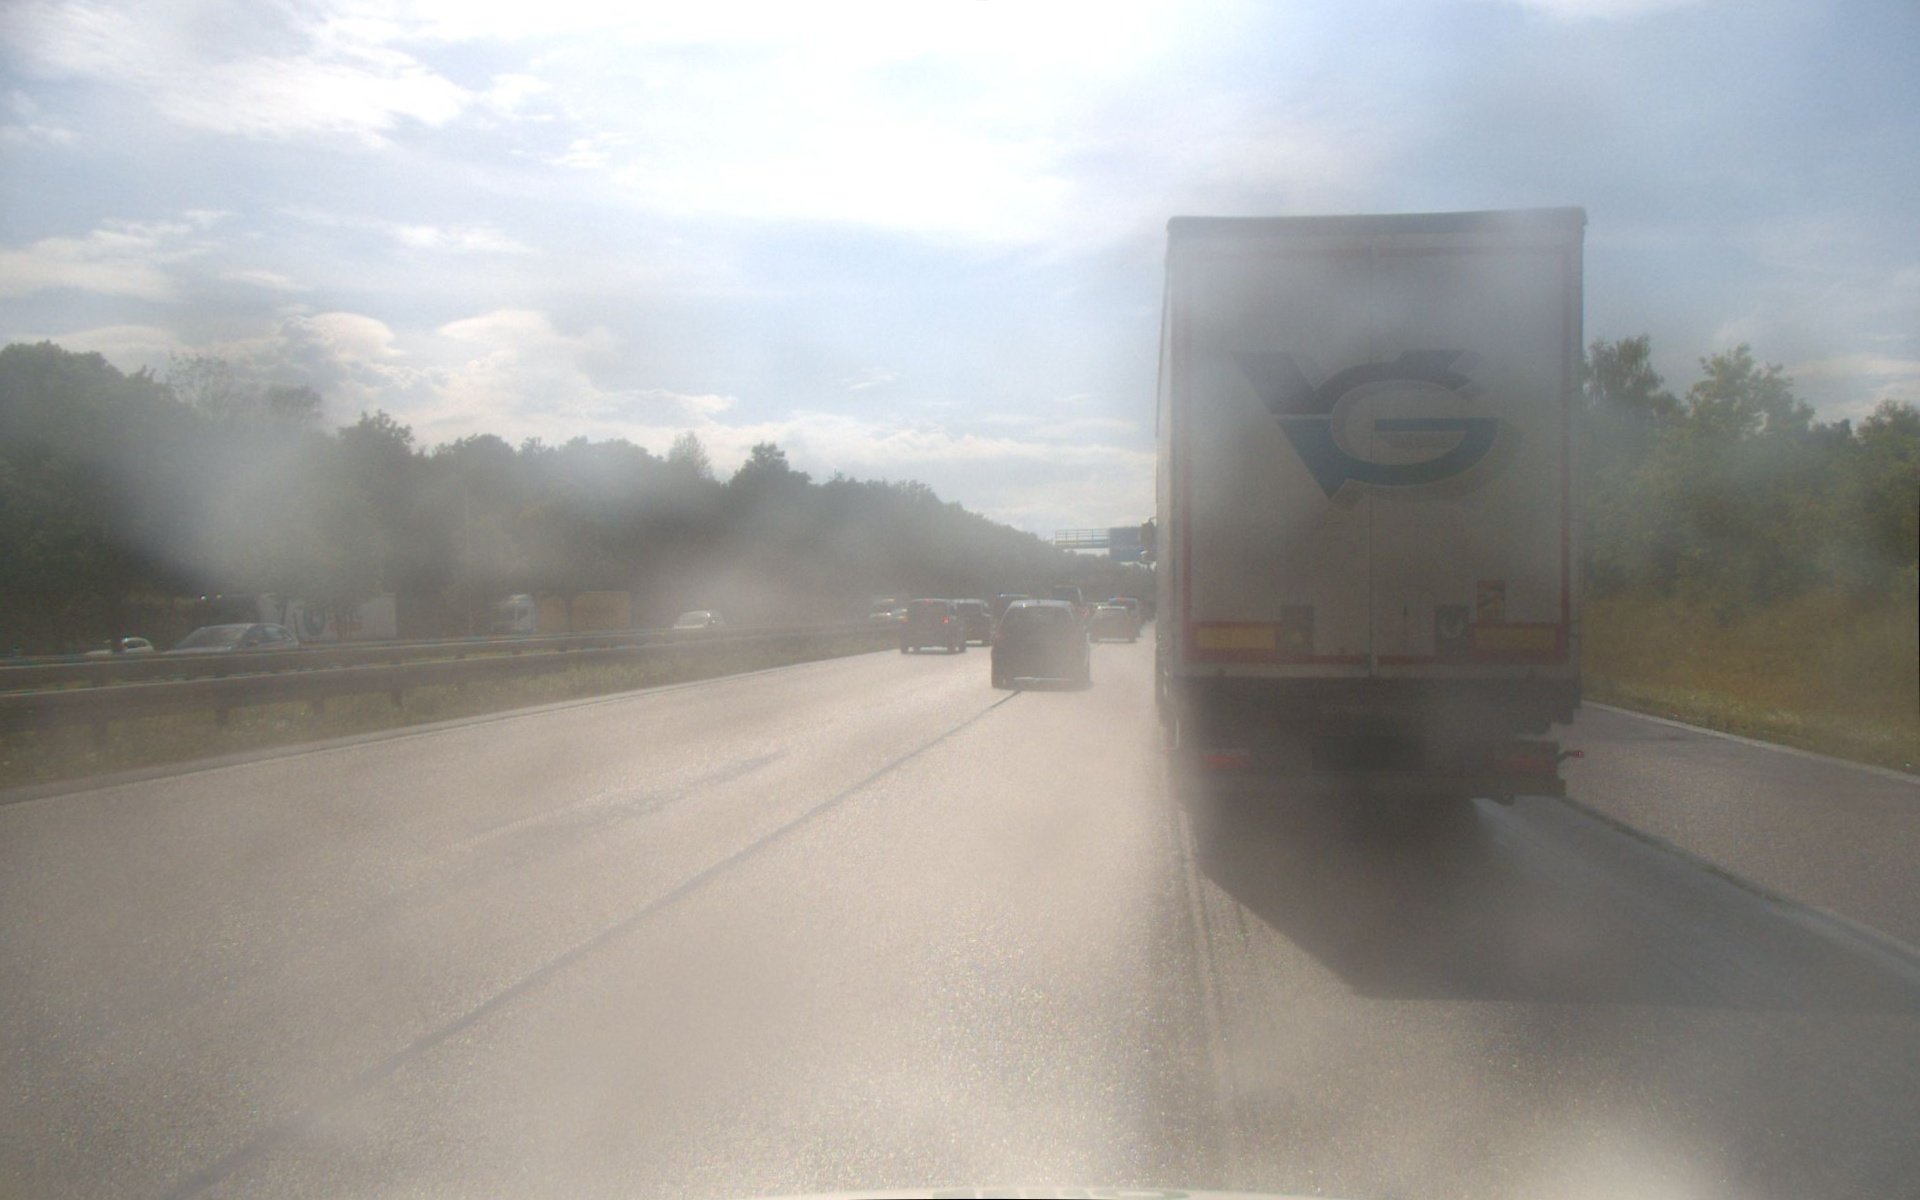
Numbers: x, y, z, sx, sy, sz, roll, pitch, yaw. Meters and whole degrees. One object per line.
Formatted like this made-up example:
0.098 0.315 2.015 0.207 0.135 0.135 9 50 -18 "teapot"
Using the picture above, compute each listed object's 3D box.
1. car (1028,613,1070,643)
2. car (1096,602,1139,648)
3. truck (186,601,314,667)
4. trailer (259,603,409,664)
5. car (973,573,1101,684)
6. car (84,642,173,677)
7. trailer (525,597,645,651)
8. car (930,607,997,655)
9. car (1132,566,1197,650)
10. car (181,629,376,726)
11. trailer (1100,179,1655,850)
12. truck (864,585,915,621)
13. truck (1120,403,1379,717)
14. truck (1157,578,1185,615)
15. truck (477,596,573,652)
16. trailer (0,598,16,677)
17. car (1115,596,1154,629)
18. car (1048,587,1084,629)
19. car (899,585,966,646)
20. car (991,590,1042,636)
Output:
5.013 1.553 92.726 1.951 1.592 4.760 1 -1 8 "car"
6.462 1.015 67.815 1.656 1.836 3.978 1 -1 5 "car"
-42.079 1.986 98.229 3.707 3.724 6.710 1 -1 12 "truck"
-40.101 2.065 106.514 3.708 3.713 10.505 -1 0 14 "trailer"
1.603 0.554 32.434 2.226 1.989 4.824 1 -1 6 "car"
-44.417 3.180 88.421 2.015 1.748 4.371 1 -1 10 "car"
-30.528 2.005 135.458 3.709 4.189 11.726 0 -1 20 "trailer"
0.189 1.146 61.831 1.868 1.665 4.620 -1 -1 8 "car"
15.406 0.677 126.023 4.311 5.933 16.827 1 -1 5 "car"
-14.756 1.618 36.137 1.791 1.924 4.782 1 -1 7 "car"
3.268 -0.494 16.966 3.214 3.967 14.138 1 0 6 "trailer"
-5.615 0.266 132.944 2.782 2.729 7.196 1 -1 8 "truck"
4.036 -0.512 24.298 3.214 3.959 6.400 1 0 6 "truck"
21.515 -0.304 168.308 2.716 3.695 5.921 1 -1 8 "truck"
-33.480 1.867 127.559 3.709 4.189 7.046 0 -1 20 "truck"
-47.916 1.771 72.701 3.708 3.713 13.355 -1 0 8 "trailer"
8.661 0.636 82.234 1.825 1.542 3.978 1 -1 5 "car"
6.981 0.528 108.209 1.951 2.661 5.263 1 -1 8 "car"
-0.841 0.504 52.222 1.656 1.836 3.978 1 -1 5 "car"
2.752 0.629 79.009 1.936 2.090 4.760 1 -1 8 "car"
